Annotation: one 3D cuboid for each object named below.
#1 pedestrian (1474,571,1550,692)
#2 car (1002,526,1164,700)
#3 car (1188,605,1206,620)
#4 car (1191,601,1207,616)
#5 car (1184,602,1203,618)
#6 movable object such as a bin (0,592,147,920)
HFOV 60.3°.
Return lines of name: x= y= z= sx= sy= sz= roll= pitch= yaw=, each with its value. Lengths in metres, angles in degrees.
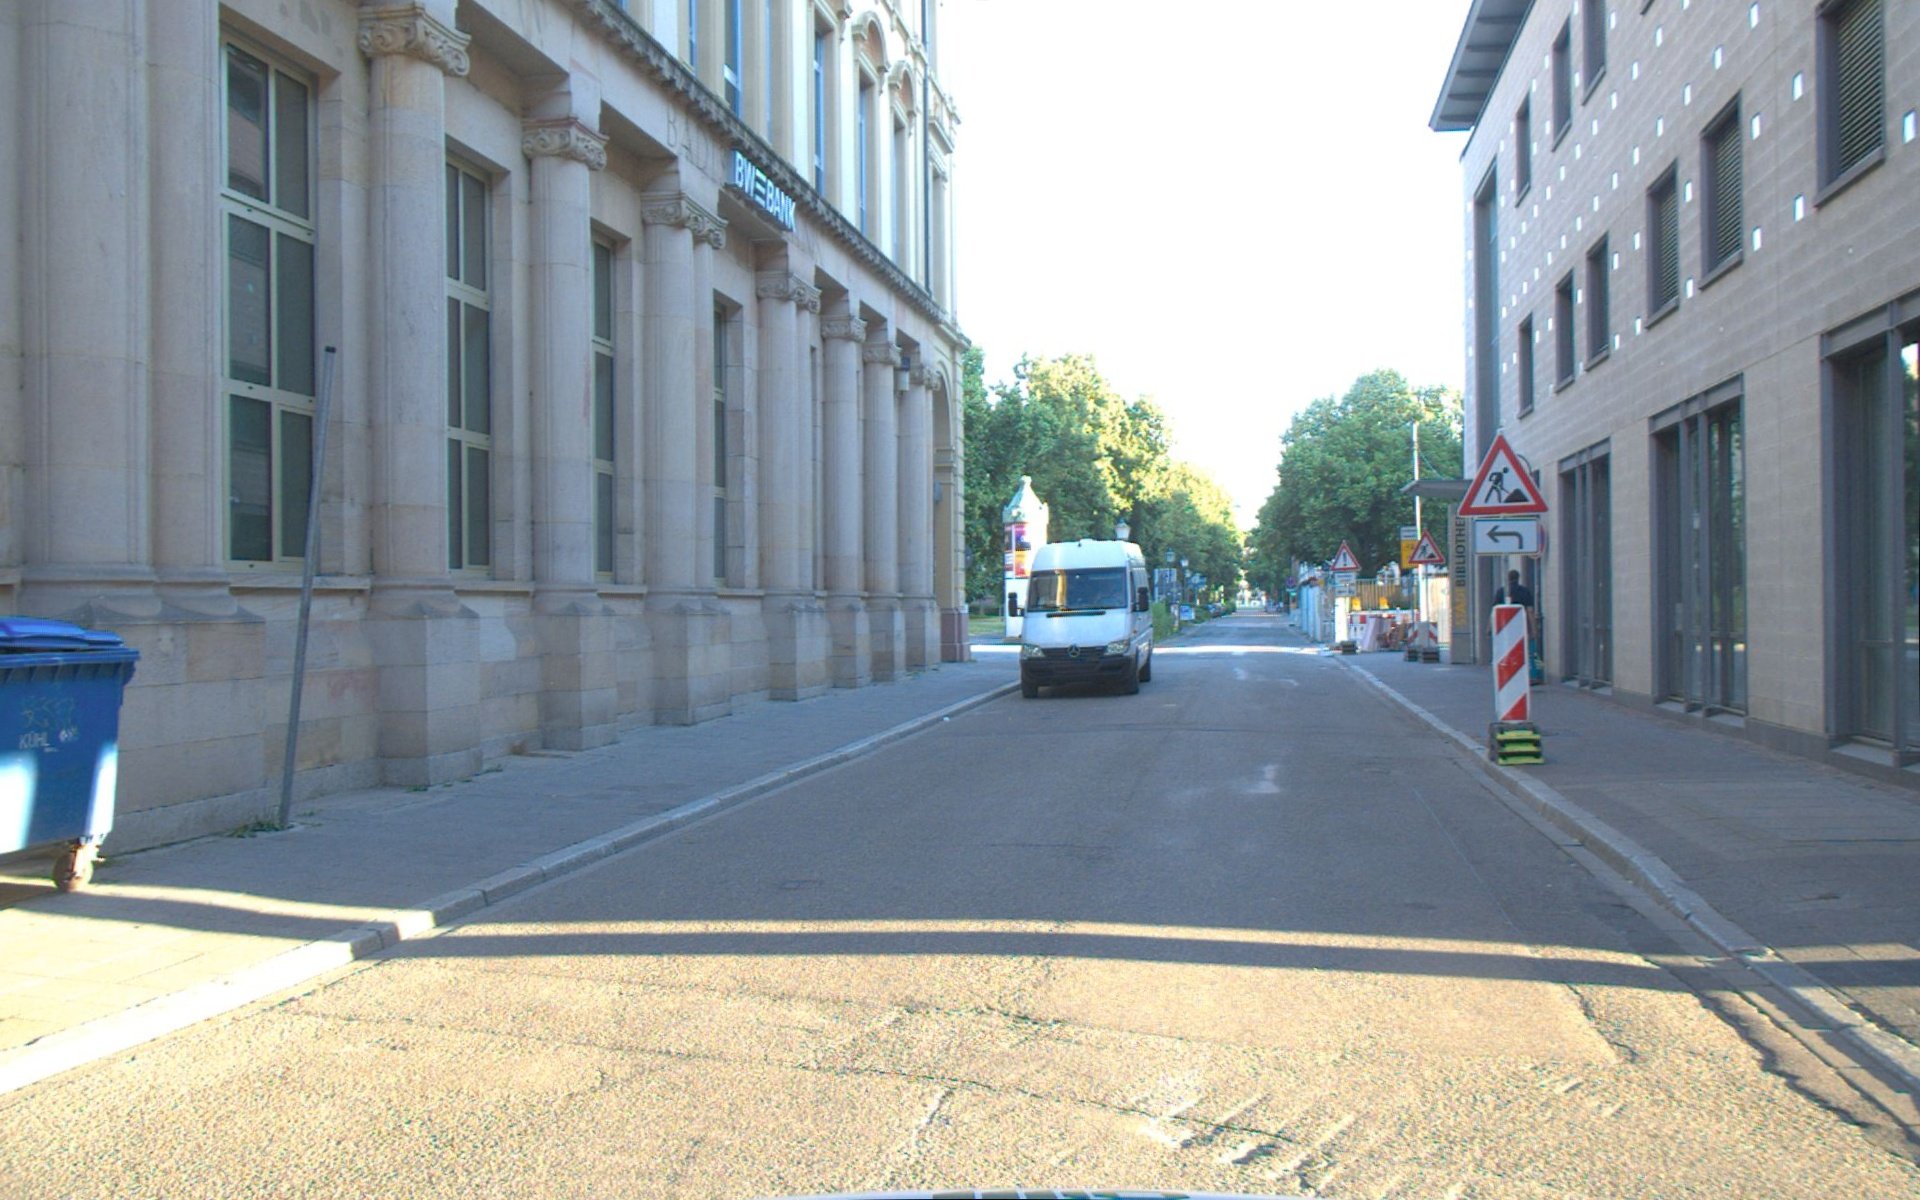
pedestrian: x=8.183 y=0.462 z=24.571 sx=0.903 sy=1.732 sz=0.869 roll=-2 pitch=0 yaw=10
car: x=2.278 y=0.194 z=28.673 sx=1.953 sy=2.556 sz=6.475 roll=-4 pitch=-1 yaw=10
car: x=20.925 y=1.122 z=146.052 sx=1.436 sy=1.278 sz=3.682 roll=0 pitch=0 yaw=10
car: x=22.944 y=0.829 z=158.996 sx=1.436 sy=1.429 sz=3.682 roll=0 pitch=0 yaw=10
car: x=18.830 y=0.790 z=133.515 sx=1.436 sy=1.278 sz=3.682 roll=0 pitch=0 yaw=10
movable object such as a bin: x=-4.824 y=0.712 z=8.016 sx=1.051 sy=1.500 sz=1.188 roll=1 pitch=0 yaw=14
